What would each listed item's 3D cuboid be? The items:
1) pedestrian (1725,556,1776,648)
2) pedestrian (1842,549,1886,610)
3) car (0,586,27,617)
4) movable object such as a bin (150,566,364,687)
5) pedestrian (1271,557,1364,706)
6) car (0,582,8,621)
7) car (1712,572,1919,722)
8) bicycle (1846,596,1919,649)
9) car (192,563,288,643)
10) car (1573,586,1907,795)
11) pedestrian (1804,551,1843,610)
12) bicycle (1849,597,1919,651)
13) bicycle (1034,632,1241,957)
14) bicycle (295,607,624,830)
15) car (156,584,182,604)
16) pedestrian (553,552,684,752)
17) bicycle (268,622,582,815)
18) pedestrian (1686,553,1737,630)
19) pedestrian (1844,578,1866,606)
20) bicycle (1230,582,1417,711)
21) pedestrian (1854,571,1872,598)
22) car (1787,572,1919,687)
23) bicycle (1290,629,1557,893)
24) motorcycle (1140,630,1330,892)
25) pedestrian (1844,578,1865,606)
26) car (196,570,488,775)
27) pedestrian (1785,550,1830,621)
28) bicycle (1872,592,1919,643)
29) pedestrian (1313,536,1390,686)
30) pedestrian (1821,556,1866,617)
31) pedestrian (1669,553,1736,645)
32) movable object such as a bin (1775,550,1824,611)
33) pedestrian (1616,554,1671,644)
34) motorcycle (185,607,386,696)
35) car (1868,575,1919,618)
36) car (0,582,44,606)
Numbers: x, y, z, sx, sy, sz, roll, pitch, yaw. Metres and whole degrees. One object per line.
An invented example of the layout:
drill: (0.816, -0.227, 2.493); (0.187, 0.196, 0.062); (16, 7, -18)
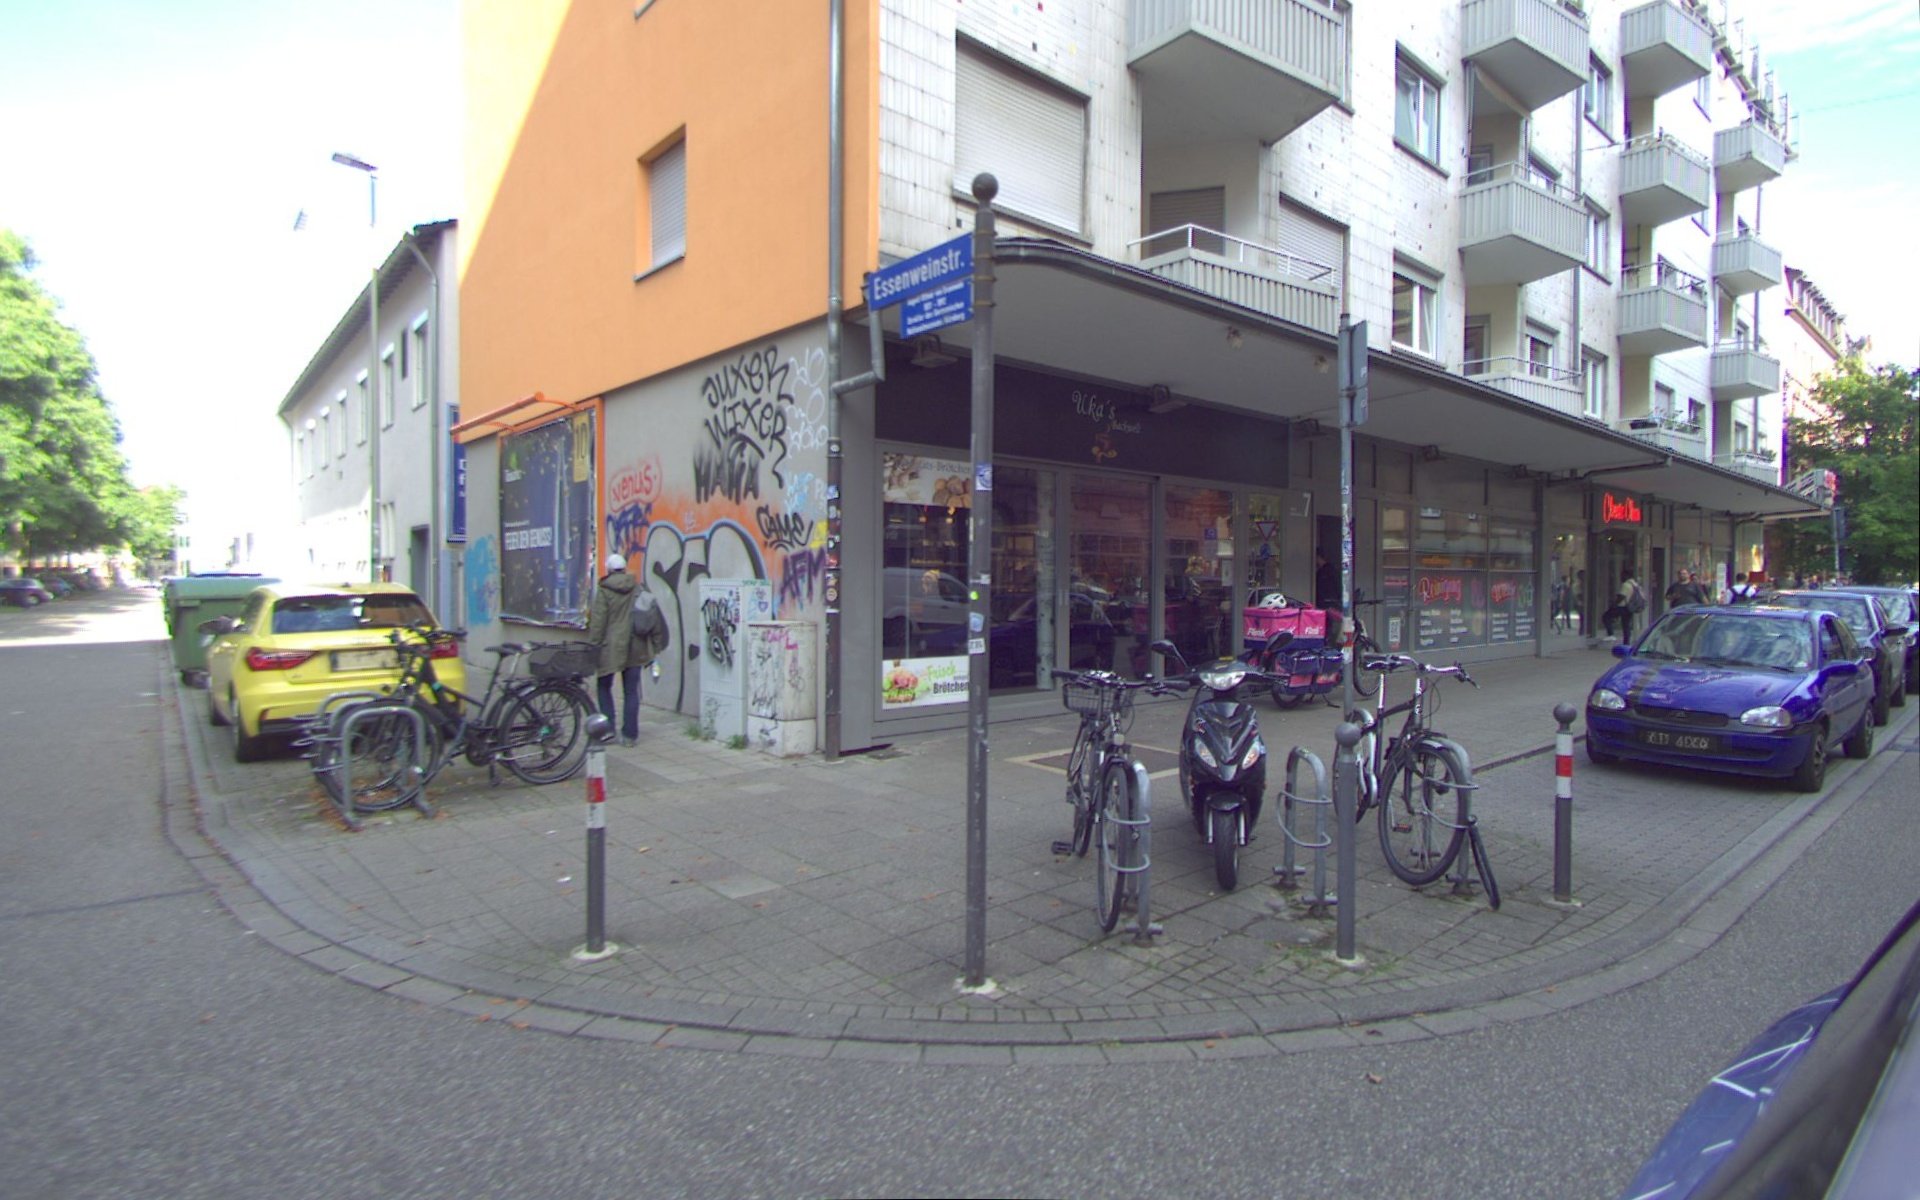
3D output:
pedestrian: (15.459, 0.033, 19.795); (1.107, 1.748, 0.612); (0, -1, -43)
pedestrian: (28.096, -0.638, 31.464); (0.704, 1.819, 0.630); (4, 2, 13)
car: (-47.606, 0.082, 49.195); (3.201, 1.450, 1.454); (-2, 2, -40)
movable object such as a bin: (-9.791, 0.312, 14.152); (1.310, 1.474, 2.166); (0, 3, 42)
pedestrian: (4.054, 0.331, 11.488); (0.767, 1.608, 0.645); (0, 3, -40)
car: (-37.134, 0.097, 36.564); (1.579, 1.450, 3.715); (1, 2, 34)
car: (11.025, 0.477, 12.869); (3.837, 1.596, 1.690); (-1, 2, -43)
bicycle: (20.618, 0.498, 22.135); (1.785, 1.084, 0.561); (4, 2, 39)
car: (-15.825, 0.020, 22.179); (1.603, 1.588, 3.898); (0, 1, -37)
car: (7.121, 0.623, 9.096); (3.959, 1.457, 1.599); (0, 2, -41)
pedestrian: (27.551, -0.629, 32.286); (0.645, 1.819, 0.656); (2, 2, -29)
bicycle: (20.255, 0.530, 21.652); (1.785, 1.084, 0.578); (4, 2, 39)
bicycle: (0.752, 0.780, 4.876); (0.677, 1.108, 1.963); (0, 2, 1)
bicycle: (-3.233, 0.688, 6.726); (0.533, 1.206, 1.907); (1, 2, 39)
car: (-57.826, -0.414, 73.987); (1.489, 1.419, 3.454); (0, 0, -38)
pedestrian: (-2.932, 0.402, 8.691); (0.778, 1.608, 0.813); (1, 2, 44)
bicycle: (-3.642, 0.745, 7.062); (0.444, 1.077, 1.900); (1, 2, 40)
pedestrian: (16.621, -0.191, 22.372); (0.700, 1.652, 0.723); (0, 3, -44)
pedestrian: (42.996, -0.397, 48.632); (0.725, 1.332, 0.514); (-1, -1, 37)
bicycle: (4.226, 0.466, 11.652); (2.456, 1.306, 0.920); (-1, 3, -42)
pedestrian: (45.322, -0.792, 50.796); (0.462, 1.343, 0.617); (1, 2, 24)
car: (14.798, 0.396, 16.235); (3.856, 1.625, 1.795); (-1, 2, -42)
bicycle: (2.471, 0.786, 5.653); (0.671, 1.108, 1.770); (1, 2, 1)
motorcycle: (1.441, 0.783, 5.591); (0.597, 1.108, 1.666); (1, 2, 1)
pedestrian: (43.329, -0.400, 49.019); (0.725, 1.332, 0.514); (-1, -1, 37)
car: (-5.964, 0.482, 9.569); (1.766, 1.519, 3.792); (-1, 2, -41)
pedestrian: (21.893, -0.377, 26.137); (0.915, 1.775, 0.764); (0, 1, -43)
bicycle: (22.673, 0.434, 23.668); (0.892, 1.139, 1.885); (0, 4, -43)
pedestrian: (5.069, 0.130, 13.135); (0.631, 1.883, 0.711); (0, 1, -12)
pedestrian: (27.400, -0.432, 31.399); (0.619, 1.819, 0.716); (3, 2, -9)
pedestrian: (14.975, -0.037, 20.405); (1.031, 1.768, 0.850); (0, 3, -44)
movable object such as a bin: (25.167, -0.597, 30.327); (2.381, 1.766, 0.781); (-1, 1, -42)
pedestrian: (14.054, -0.034, 20.805); (0.813, 1.768, 0.706); (4, 3, 38)
motorcycle: (-8.713, 0.622, 13.153); (0.657, 1.015, 2.086); (1, 1, 42)
car: (38.255, -0.109, 38.809); (4.801, 1.617, 1.922); (2, 1, 33)
car: (-51.821, -0.339, 54.828); (1.278, 1.271, 2.985); (1, 2, 31)
